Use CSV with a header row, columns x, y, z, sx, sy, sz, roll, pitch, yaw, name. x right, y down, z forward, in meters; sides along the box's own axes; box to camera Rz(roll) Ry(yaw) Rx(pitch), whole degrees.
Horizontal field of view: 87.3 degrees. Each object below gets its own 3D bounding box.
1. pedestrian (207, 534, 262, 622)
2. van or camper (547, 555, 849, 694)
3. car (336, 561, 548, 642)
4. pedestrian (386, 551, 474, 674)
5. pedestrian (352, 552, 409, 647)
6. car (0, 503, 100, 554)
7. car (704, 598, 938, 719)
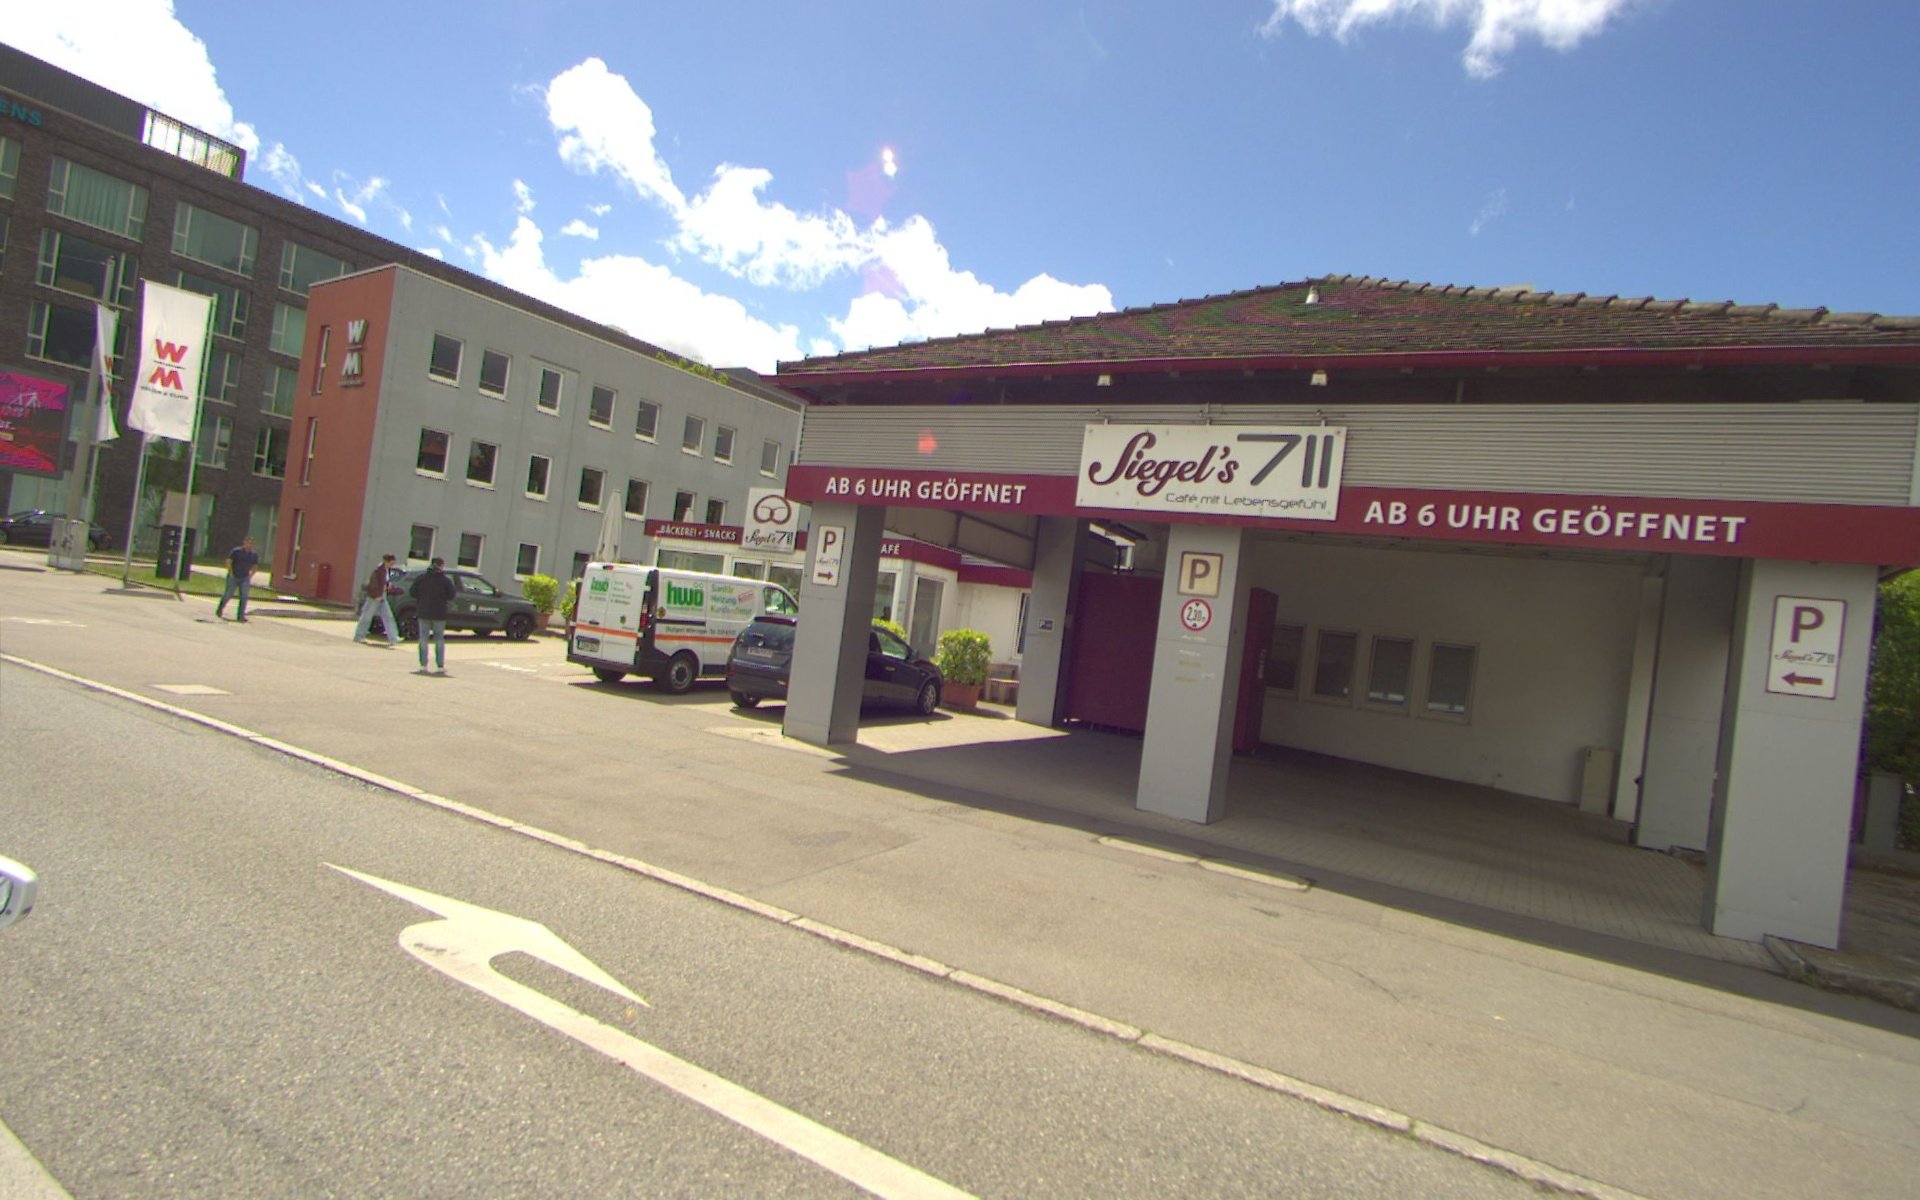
x,y,z,sx,sy,sz,roll,pitch,yaw,name
-15.084,-0.451,20.937,0.707,1.727,0.625,8,-1,-32,pedestrian
-4.391,0.469,17.728,2.176,1.982,4.901,5,0,32,van or camper
-11.118,0.075,21.817,1.734,1.505,3.666,6,1,33,car
-7.979,0.190,15.147,0.727,1.727,0.713,7,-1,32,pedestrian
-11.206,-0.016,19.455,0.743,1.727,0.566,8,-1,-32,pedestrian
-39.230,-3.096,41.929,1.966,1.637,4.649,7,-2,30,car
-2.039,0.839,15.615,1.804,1.505,3.454,5,1,29,car
